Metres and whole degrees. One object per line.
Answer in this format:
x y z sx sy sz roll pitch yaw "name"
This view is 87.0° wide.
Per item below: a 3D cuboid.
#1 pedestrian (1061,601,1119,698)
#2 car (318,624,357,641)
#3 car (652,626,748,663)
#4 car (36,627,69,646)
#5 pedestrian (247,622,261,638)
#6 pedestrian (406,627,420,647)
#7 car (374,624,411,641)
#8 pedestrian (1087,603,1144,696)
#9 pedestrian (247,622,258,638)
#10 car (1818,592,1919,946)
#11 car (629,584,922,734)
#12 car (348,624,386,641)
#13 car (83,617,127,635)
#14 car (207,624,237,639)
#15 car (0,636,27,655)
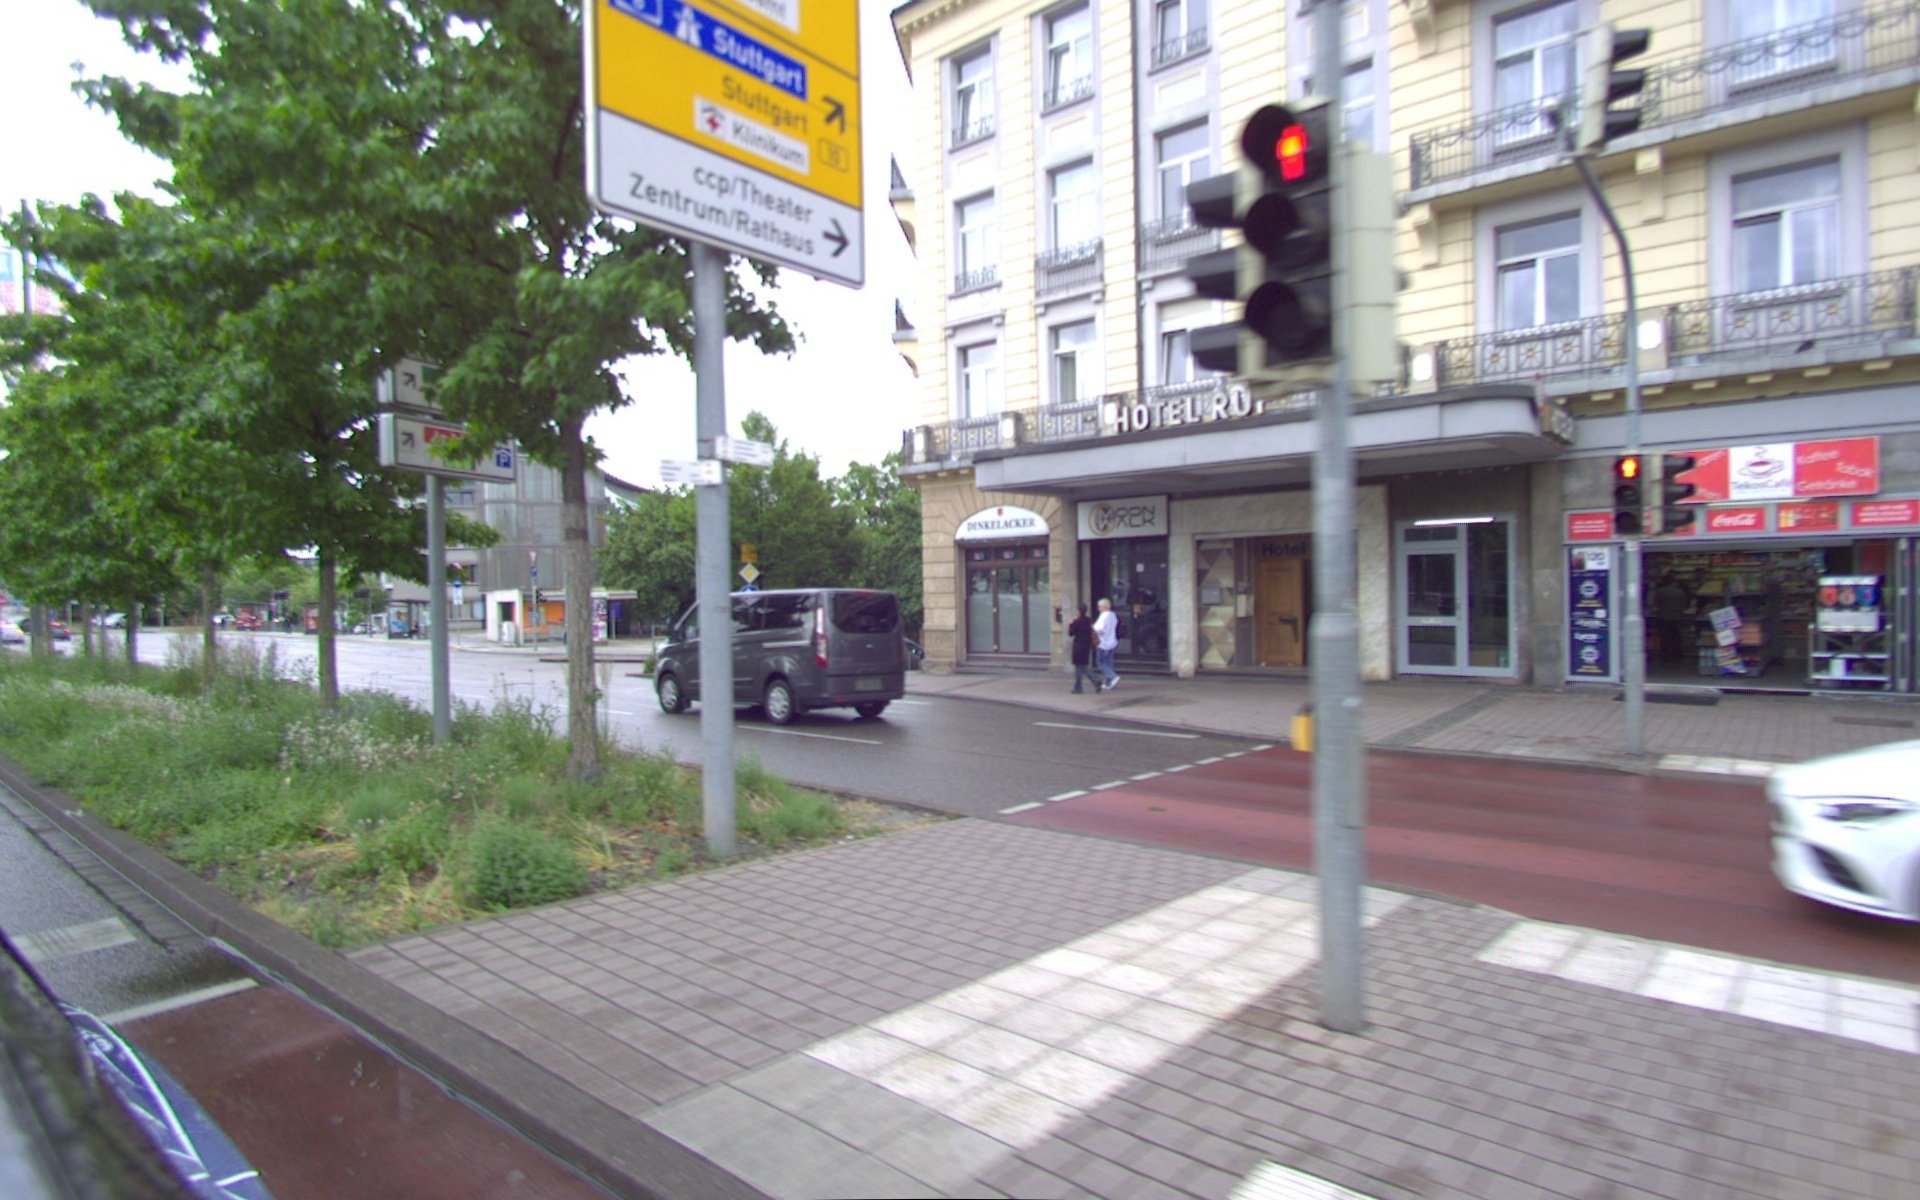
2.339 0.877 18.193 0.806 1.676 0.674 -1 -2 41 "pedestrian"
-65.992 3.406 107.359 1.848 1.715 4.161 1 -2 -4 "car"
-11.629 1.993 45.437 3.938 1.409 1.637 -2 -6 -6 "car"
-74.625 3.004 83.179 4.453 1.477 1.675 -1 -2 44 "car"
-65.809 2.781 94.308 0.969 1.501 0.735 2 -2 -39 "pedestrian"
-36.823 2.495 68.116 0.659 1.309 0.720 2 -2 -44 "pedestrian"
-60.521 3.492 108.084 1.848 1.715 4.161 1 -2 -4 "car"
2.878 0.899 18.714 0.807 1.676 0.674 -1 -2 44 "pedestrian"
-66.488 2.795 95.060 0.722 1.501 0.735 2 -2 -41 "pedestrian"
6.362 0.752 3.905 4.631 1.555 1.973 -1 -2 41 "car"
-3.079 0.847 16.130 5.000 2.029 1.972 -1 -2 43 "car"
-62.988 3.435 107.597 1.848 1.715 4.161 0 -1 -4 "car"
-94.623 2.900 112.092 1.967 1.896 4.009 1 -2 -11 "car"
-96.372 4.104 132.139 1.966 2.029 4.012 1 -2 -18 "car"
-71.151 3.388 75.342 4.163 1.363 1.984 -1 -2 41 "car"
